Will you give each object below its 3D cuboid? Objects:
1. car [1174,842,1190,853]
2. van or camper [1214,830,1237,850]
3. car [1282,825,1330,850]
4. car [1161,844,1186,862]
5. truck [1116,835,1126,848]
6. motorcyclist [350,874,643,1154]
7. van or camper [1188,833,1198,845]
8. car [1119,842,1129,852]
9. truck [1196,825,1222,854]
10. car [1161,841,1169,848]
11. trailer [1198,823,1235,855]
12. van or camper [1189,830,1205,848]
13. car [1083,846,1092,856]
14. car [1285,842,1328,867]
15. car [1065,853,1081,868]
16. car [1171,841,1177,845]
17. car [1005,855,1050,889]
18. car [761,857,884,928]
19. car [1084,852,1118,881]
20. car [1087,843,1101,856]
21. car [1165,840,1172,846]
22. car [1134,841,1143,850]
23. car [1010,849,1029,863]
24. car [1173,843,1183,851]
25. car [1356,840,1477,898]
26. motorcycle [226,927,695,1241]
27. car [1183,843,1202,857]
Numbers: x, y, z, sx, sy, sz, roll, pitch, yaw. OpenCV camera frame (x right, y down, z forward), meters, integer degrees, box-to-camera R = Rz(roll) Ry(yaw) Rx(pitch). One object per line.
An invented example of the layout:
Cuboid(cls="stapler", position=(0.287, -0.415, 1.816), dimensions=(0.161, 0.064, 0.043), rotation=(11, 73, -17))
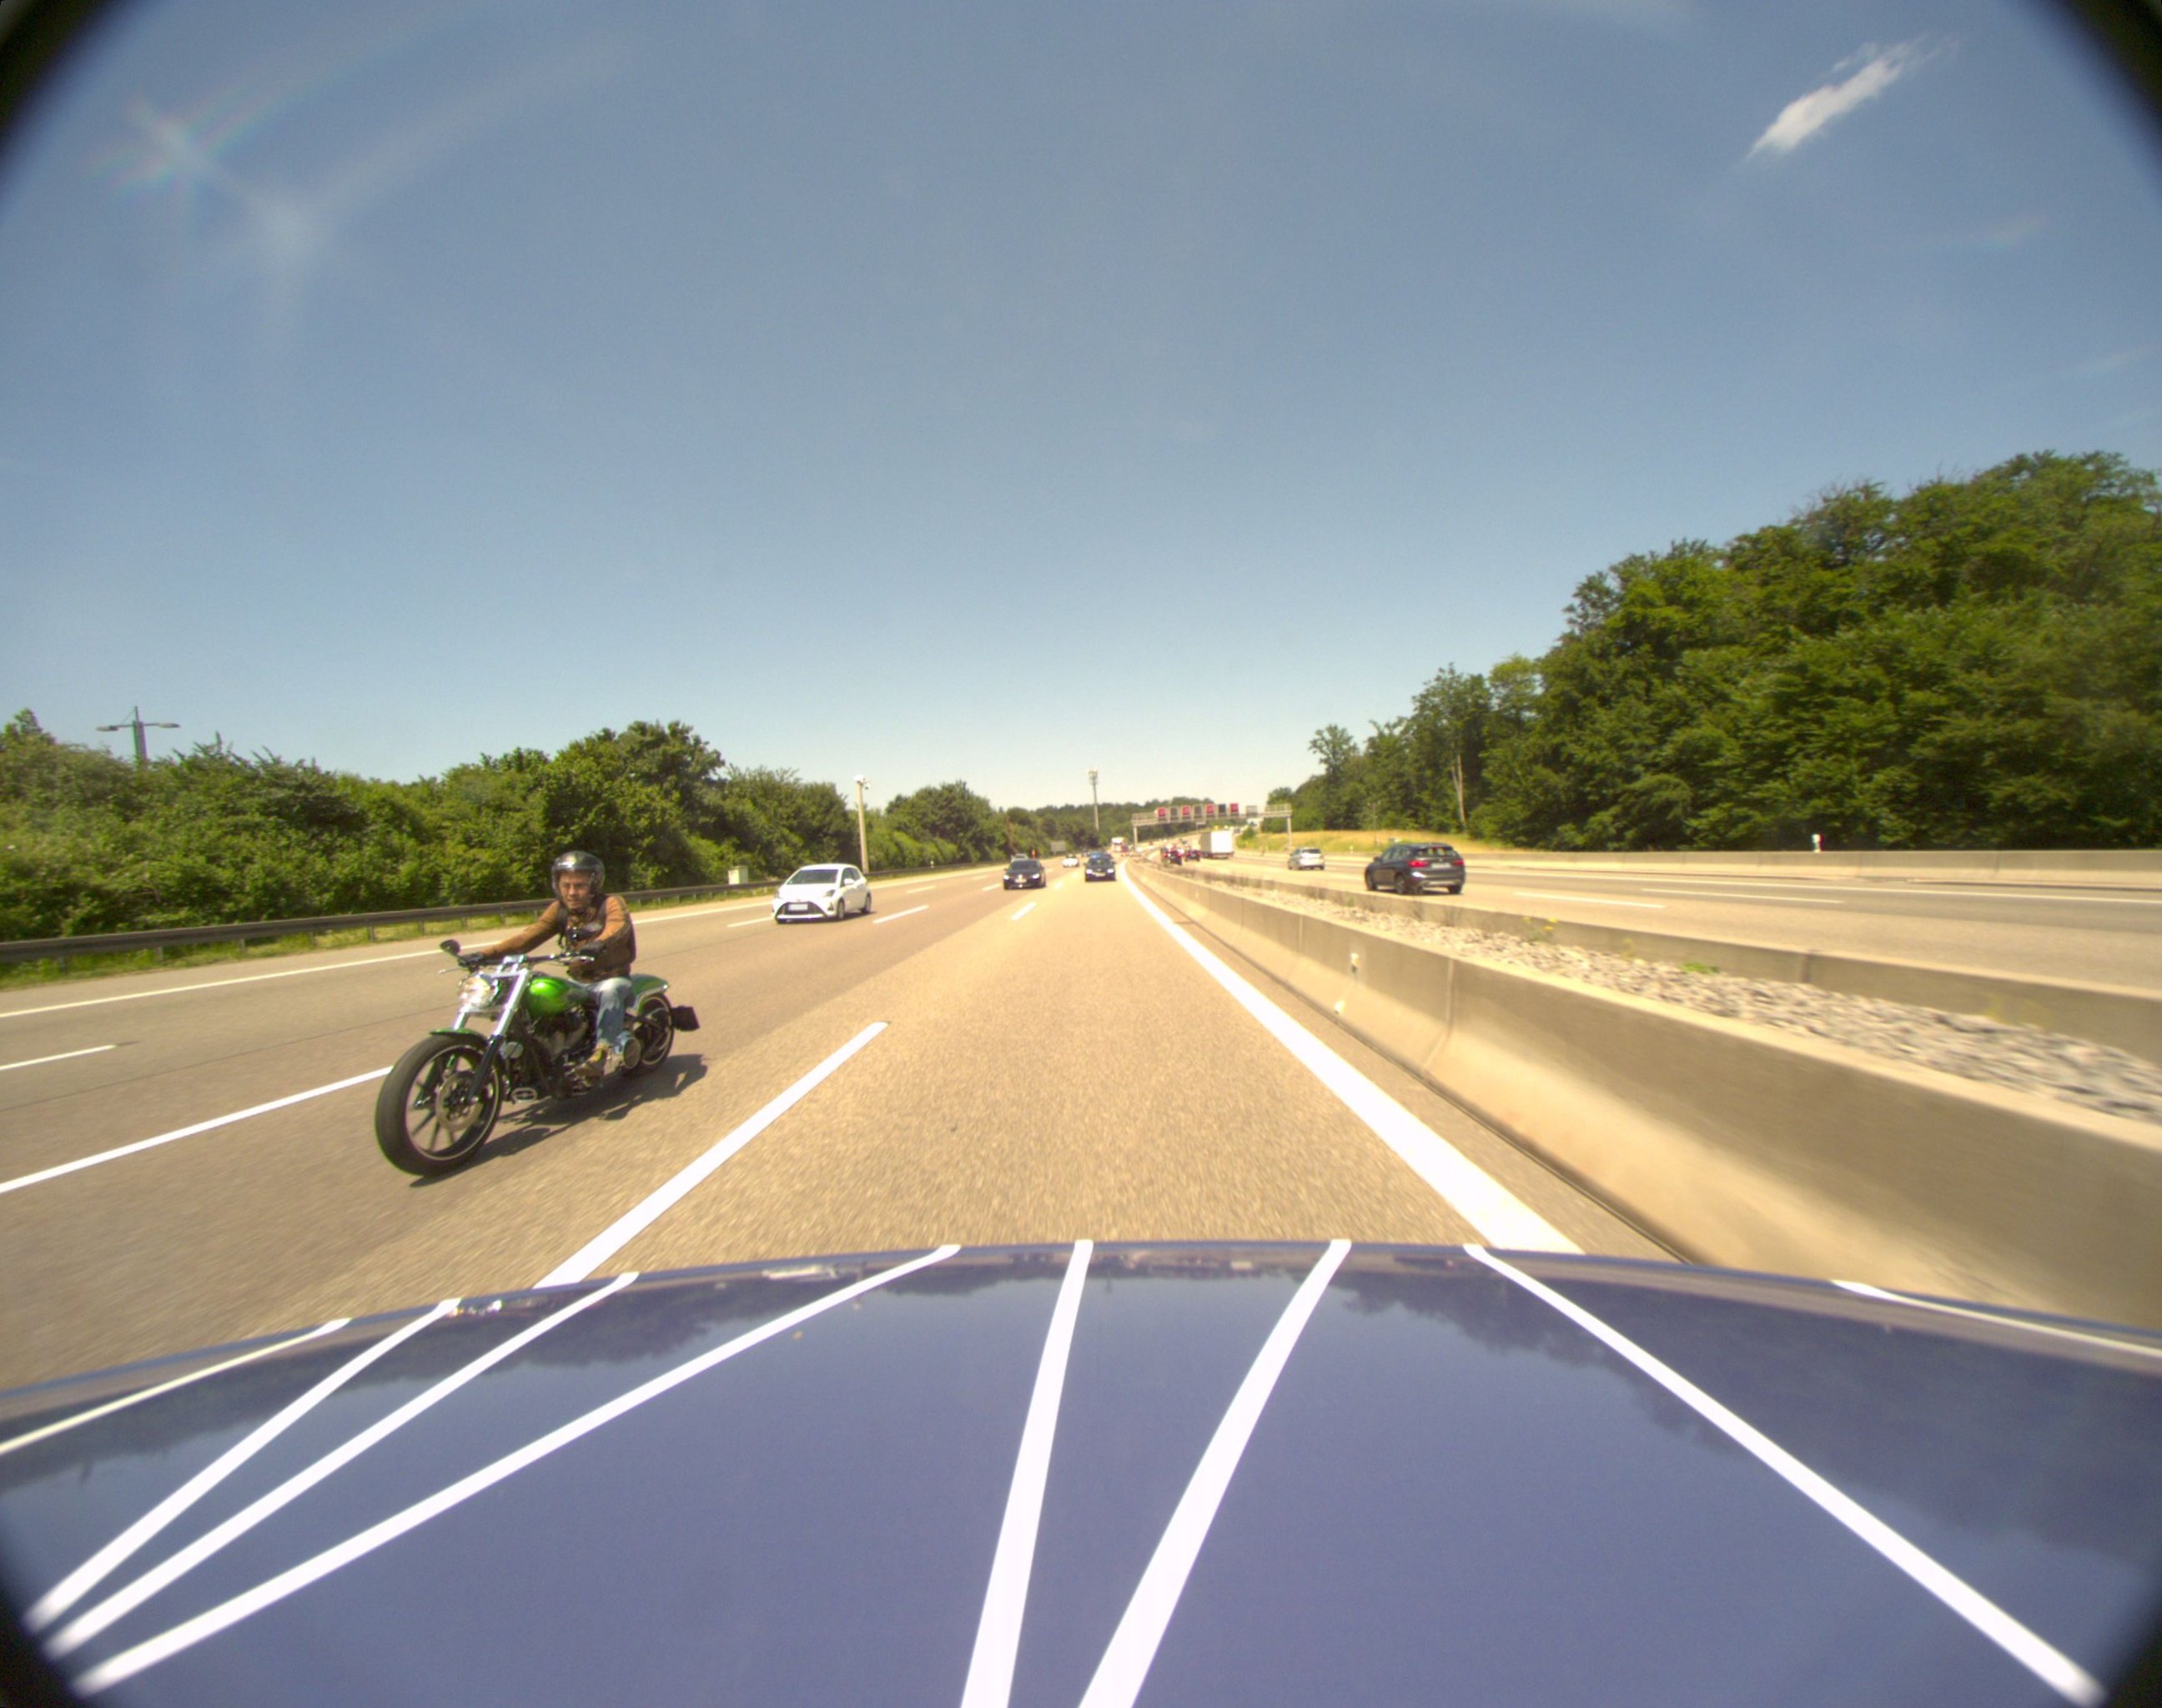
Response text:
Cuboid(cls="car", position=(17.130, -1.145, 129.078), dimensions=(2.292, 1.718, 5.031), rotation=(-2, 1, 3))
Cuboid(cls="van or camper", position=(24.540, -2.461, 129.434), dimensions=(2.771, 3.107, 8.094), rotation=(-3, 2, 4))
Cuboid(cls="car", position=(15.553, -1.098, 52.715), dimensions=(1.998, 1.523, 4.378), rotation=(-3, 0, 1))
Cuboid(cls="car", position=(9.136, -0.125, 75.184), dimensions=(1.998, 1.658, 4.434), rotation=(-2, 1, 1))
Cuboid(cls="truck", position=(11.730, -3.748, 224.925), dimensions=(2.435, 3.458, 7.019), rotation=(-3, 2, 0))
Cuboid(cls="motorcyclist", position=(-3.373, 0.856, 4.500), dimensions=(0.854, 1.419, 1.024), rotation=(-1, 1, 8))
Cuboid(cls="van or camper", position=(34.815, -4.728, 236.629), dimensions=(2.435, 3.657, 7.759), rotation=(-2, 1, 4))
Cuboid(cls="car", position=(9.542, -1.552, 167.237), dimensions=(1.998, 2.002, 4.001), rotation=(-3, 0, 2))
Cuboid(cls="truck", position=(19.560, -2.150, 116.693), dimensions=(2.883, 4.265, 6.452), rotation=(-2, 1, 0))
Cuboid(cls="car", position=(20.548, -2.249, 186.004), dimensions=(1.998, 1.581, 4.845), rotation=(-2, 1, 5))
Cuboid(cls="trailer", position=(19.505, -2.125, 110.435), dimensions=(2.871, 4.238, 13.958), rotation=(-2, 1, 1))
Cuboid(cls="van or camper", position=(25.351, -3.345, 166.395), dimensions=(2.836, 3.818, 8.215), rotation=(-3, 2, 5))
Cuboid(cls="car", position=(1.457, -0.677, 168.988), dimensions=(1.998, 2.002, 3.999), rotation=(-3, 2, 1))
Cuboid(cls="car", position=(15.479, -0.010, 52.348), dimensions=(1.722, 1.595, 4.281), rotation=(-2, 1, 1))
Cuboid(cls="car", position=(-0.899, 0.737, 88.867), dimensions=(1.729, 1.521, 3.740), rotation=(-4, 1, 1))
Cuboid(cls="car", position=(31.938, -3.725, 261.298), dimensions=(2.052, 1.434, 5.222), rotation=(-2, 1, 5))
Cuboid(cls="car", position=(-2.578, 0.833, 37.512), dimensions=(1.760, 1.431, 3.999), rotation=(-2, 2, 2))
Cuboid(cls="car", position=(-7.027, 0.961, 21.212), dimensions=(1.754, 1.511, 4.482), rotation=(-3, 2, 1))
Cuboid(cls="car", position=(1.164, 0.704, 43.913), dimensions=(1.769, 1.495, 4.001), rotation=(-3, 0, 2))
Cuboid(cls="car", position=(2.157, -0.757, 123.472), dimensions=(1.998, 2.002, 3.999), rotation=(-3, 2, 2))
Cuboid(cls="car", position=(27.639, -3.395, 238.919), dimensions=(1.992, 1.727, 5.346), rotation=(-3, 1, 5))
Cuboid(cls="car", position=(15.834, -2.382, 208.672), dimensions=(2.233, 2.372, 4.162), rotation=(-3, 2, 4))
Cuboid(cls="car", position=(-7.789, 0.250, 96.541), dimensions=(1.998, 1.521, 3.999), rotation=(-2, 2, 2))
Cuboid(cls="car", position=(21.672, -1.529, 169.866), dimensions=(1.744, 1.752, 5.119), rotation=(-2, 1, 4))
Cuboid(cls="car", position=(10.558, 0.458, 24.322), dimensions=(1.759, 1.625, 4.638), rotation=(-2, 0, 0))
Cuboid(cls="motorcycle", position=(-3.376, 1.136, 4.581), dimensions=(0.536, 1.129, 2.438), rotation=(-1, 1, 8))
Cuboid(cls="car", position=(14.210, -0.556, 97.090), dimensions=(1.765, 1.512, 4.361), rotation=(-3, 2, 2))
